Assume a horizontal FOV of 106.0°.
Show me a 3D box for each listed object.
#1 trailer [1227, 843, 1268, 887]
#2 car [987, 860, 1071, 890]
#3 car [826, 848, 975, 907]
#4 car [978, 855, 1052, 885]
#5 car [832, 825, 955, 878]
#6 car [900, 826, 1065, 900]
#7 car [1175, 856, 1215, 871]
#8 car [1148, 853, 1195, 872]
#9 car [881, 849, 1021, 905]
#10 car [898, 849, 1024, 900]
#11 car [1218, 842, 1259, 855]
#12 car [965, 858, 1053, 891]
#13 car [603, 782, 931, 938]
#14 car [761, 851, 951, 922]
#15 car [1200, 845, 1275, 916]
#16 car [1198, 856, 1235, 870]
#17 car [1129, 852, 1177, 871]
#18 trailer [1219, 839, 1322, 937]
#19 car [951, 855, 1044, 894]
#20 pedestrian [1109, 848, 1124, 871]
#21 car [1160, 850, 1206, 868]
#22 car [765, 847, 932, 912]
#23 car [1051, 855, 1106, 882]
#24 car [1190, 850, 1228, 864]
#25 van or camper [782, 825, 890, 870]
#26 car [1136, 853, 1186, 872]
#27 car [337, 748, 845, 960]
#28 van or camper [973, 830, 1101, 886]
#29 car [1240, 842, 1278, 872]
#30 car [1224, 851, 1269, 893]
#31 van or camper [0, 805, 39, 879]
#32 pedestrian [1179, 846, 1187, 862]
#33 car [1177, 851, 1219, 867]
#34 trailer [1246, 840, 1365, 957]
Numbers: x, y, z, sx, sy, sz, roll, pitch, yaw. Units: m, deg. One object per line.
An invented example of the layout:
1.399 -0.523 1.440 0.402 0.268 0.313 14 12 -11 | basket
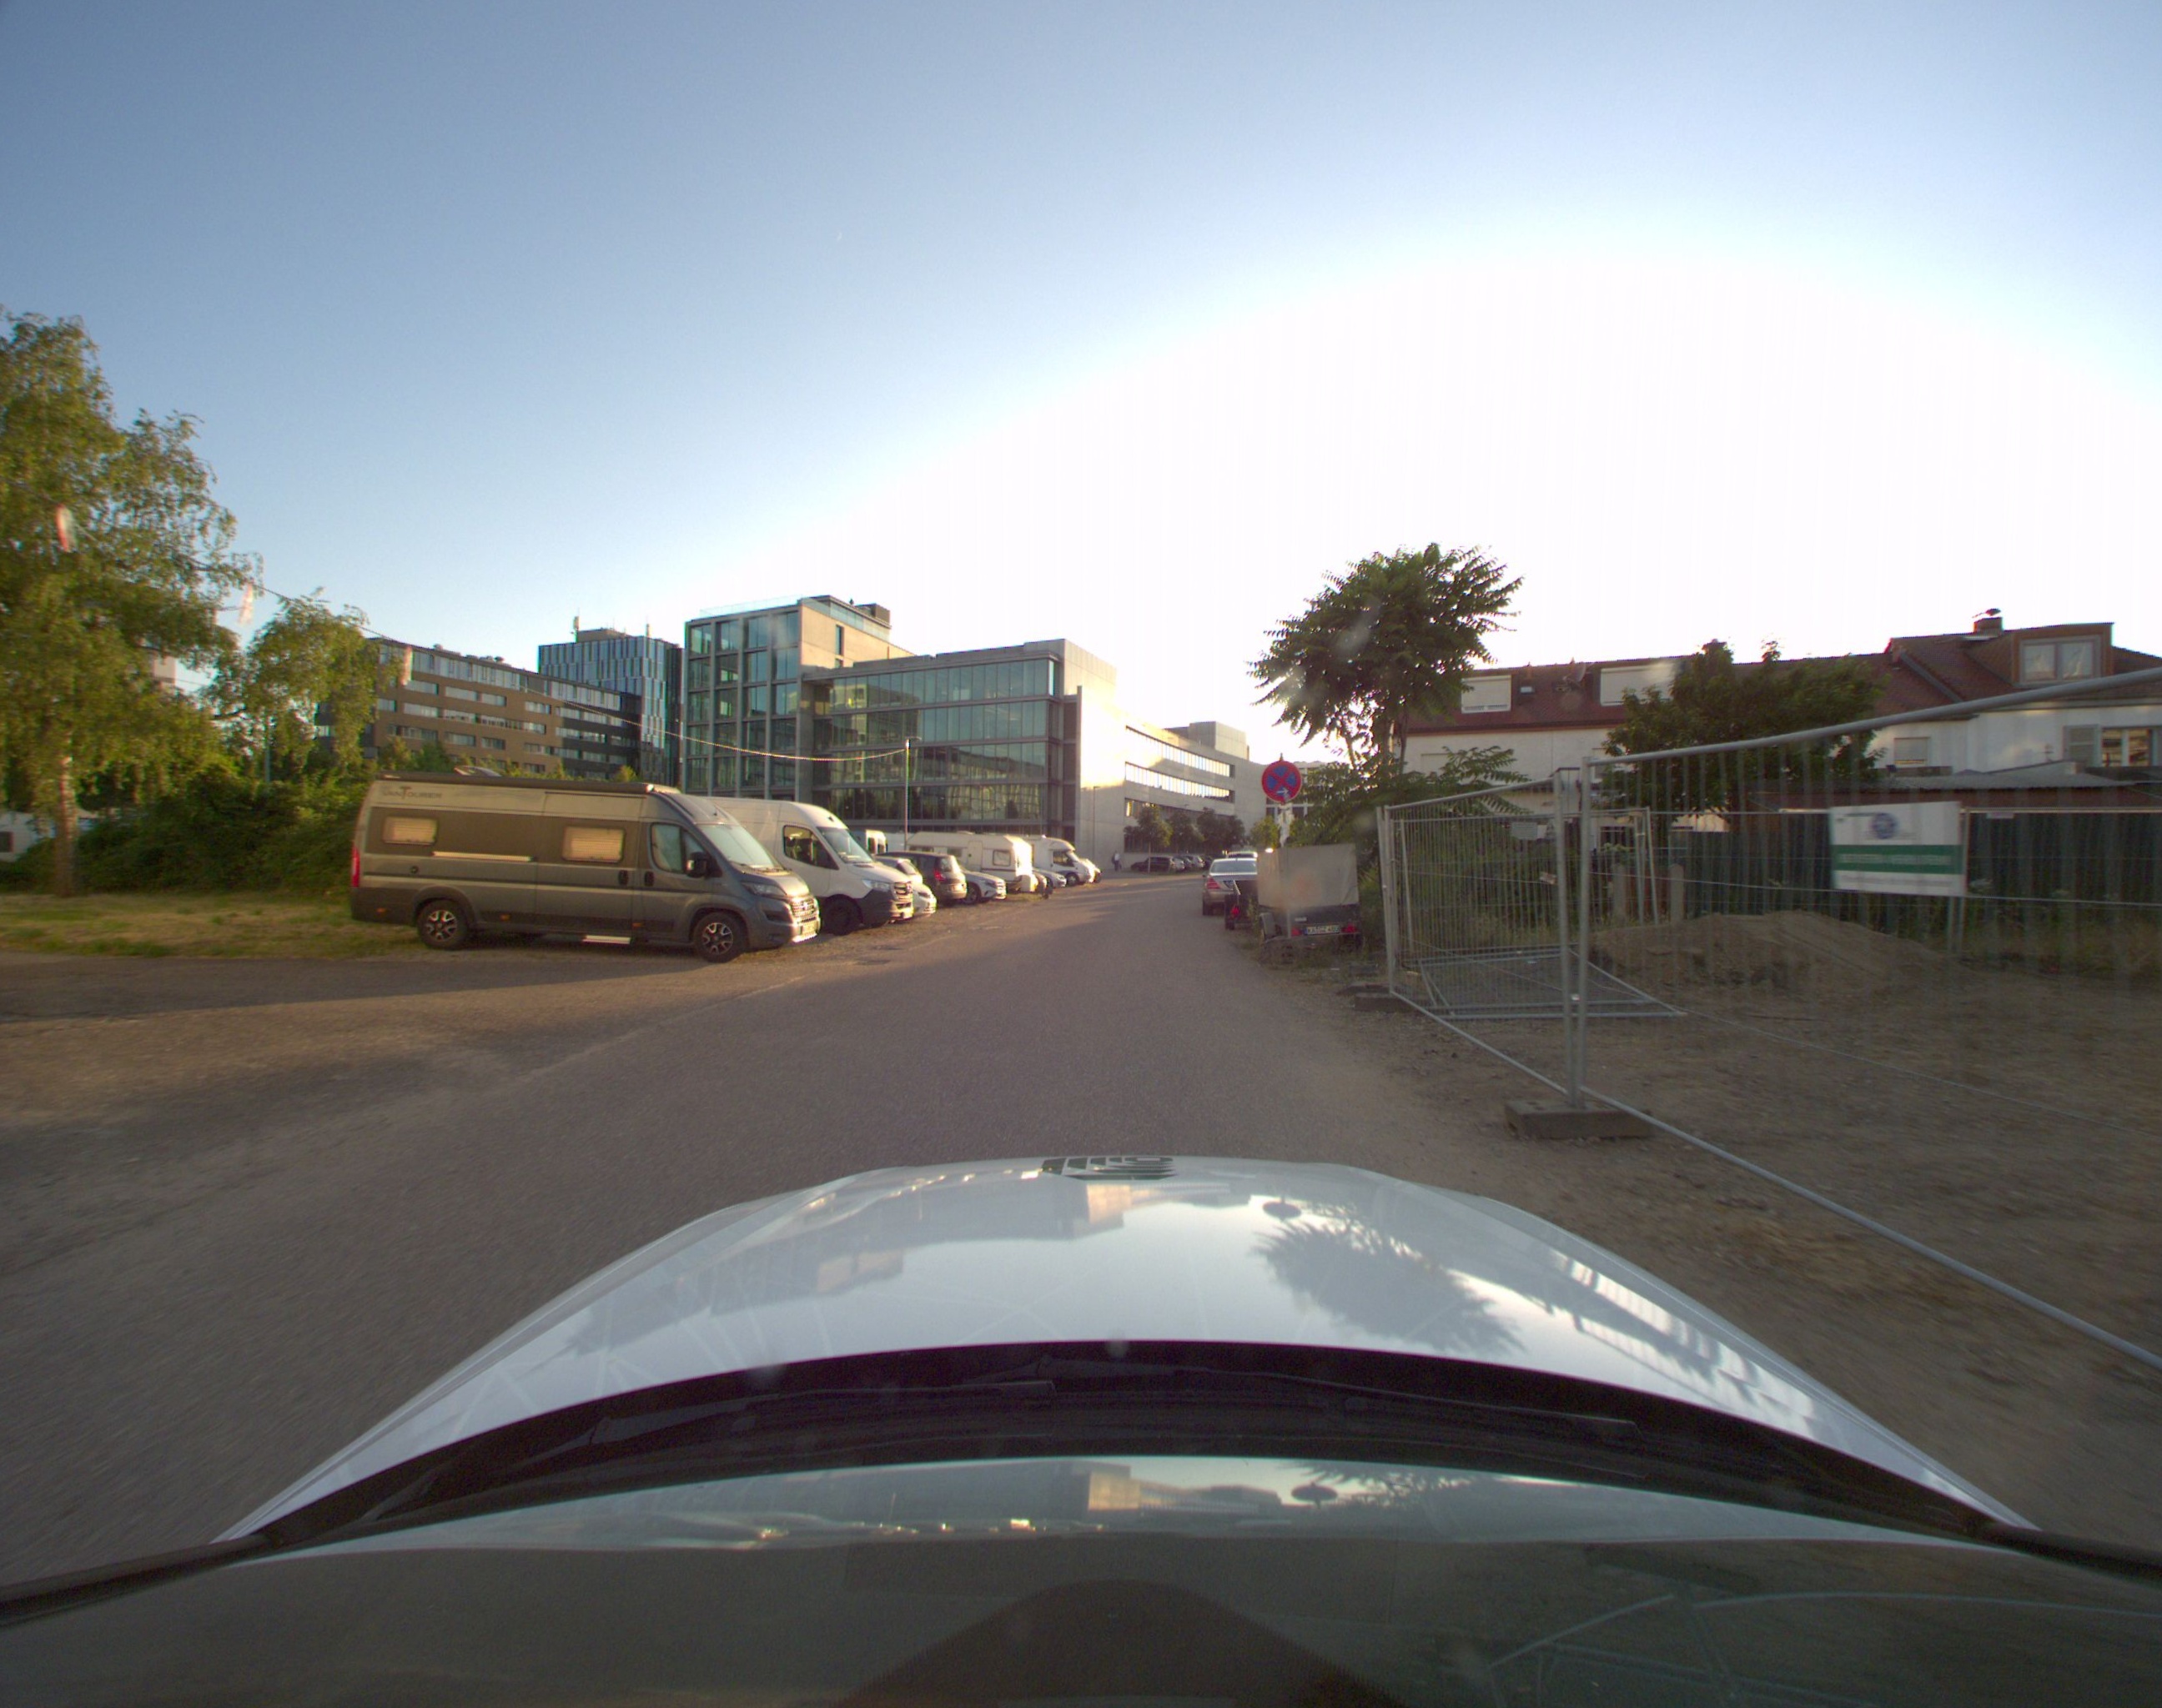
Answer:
9.017 0.565 43.844 2.050 2.211 5.241 0 0 13 | trailer
-2.538 1.024 40.369 3.784 1.328 1.698 2 0 10 | car
-5.323 0.658 24.140 3.897 1.591 1.755 1 0 15 | car
-3.486 0.840 43.321 3.585 1.476 1.696 2 0 7 | car
-10.279 -0.158 44.705 6.194 2.673 2.233 2 0 17 | car
-3.810 0.284 31.928 5.848 2.533 2.420 2 1 13 | car
11.193 0.888 80.218 3.603 1.361 1.694 2 1 18 | car
8.141 0.752 73.269 3.967 1.512 1.592 2 2 17 | car
-4.252 0.725 26.847 4.096 1.590 1.755 3 0 15 | car
-4.317 0.715 29.533 4.101 1.591 1.753 3 -1 9 | car
18.724 -0.694 96.745 4.392 1.464 1.774 1 0 29 | car
-3.331 0.957 37.993 3.705 1.367 1.709 2 0 8 | car
-6.246 0.088 16.635 5.798 2.713 2.053 3 0 4 | car
-5.257 0.735 19.323 3.904 1.507 1.793 1 -1 7 | car
4.244 0.661 22.614 1.795 1.724 4.940 -1 0 9 | car
15.030 0.944 90.391 3.668 1.458 1.689 1 0 26 | car
6.058 0.630 68.622 3.705 1.482 1.778 2 1 17 | car
3.916 0.631 17.492 1.721 1.777 4.949 -1 0 8 | trailer
-3.588 0.856 35.347 3.608 1.519 1.709 2 0 8 | car
2.906 0.458 66.858 0.906 1.850 0.847 0 0 -36 | pedestrian
9.762 0.457 78.090 3.952 1.511 1.770 2 1 23 | car
-6.209 0.684 21.997 3.905 1.591 1.751 1 -1 7 | car
-0.119 0.870 49.011 1.672 1.519 4.384 2 0 23 | car
13.842 0.349 88.141 3.669 1.458 1.721 1 0 24 | car
-11.160 -0.316 37.190 4.305 1.891 1.940 2 0 15 | van or camper
7.027 0.745 71.411 4.054 1.528 1.854 2 0 17 | car
-7.236 0.022 12.612 6.368 2.713 2.112 3 -1 -1 | car
-2.430 0.200 45.709 6.695 2.897 2.417 1 0 12 | van or camper
13.032 0.206 59.409 2.048 2.095 4.896 0 0 20 | car
7.705 0.762 37.635 1.758 1.831 4.425 0 0 14 | car
-31.792 -0.324 21.110 1.754 2.060 5.608 0 0 18 | van or camper
11.402 -0.001 90.752 0.640 1.784 0.729 2 0 23 | pedestrian
11.998 0.547 83.476 3.836 1.511 1.770 2 1 23 | car
3.537 0.647 13.208 1.245 1.665 2.805 -1 0 3 | trailer
